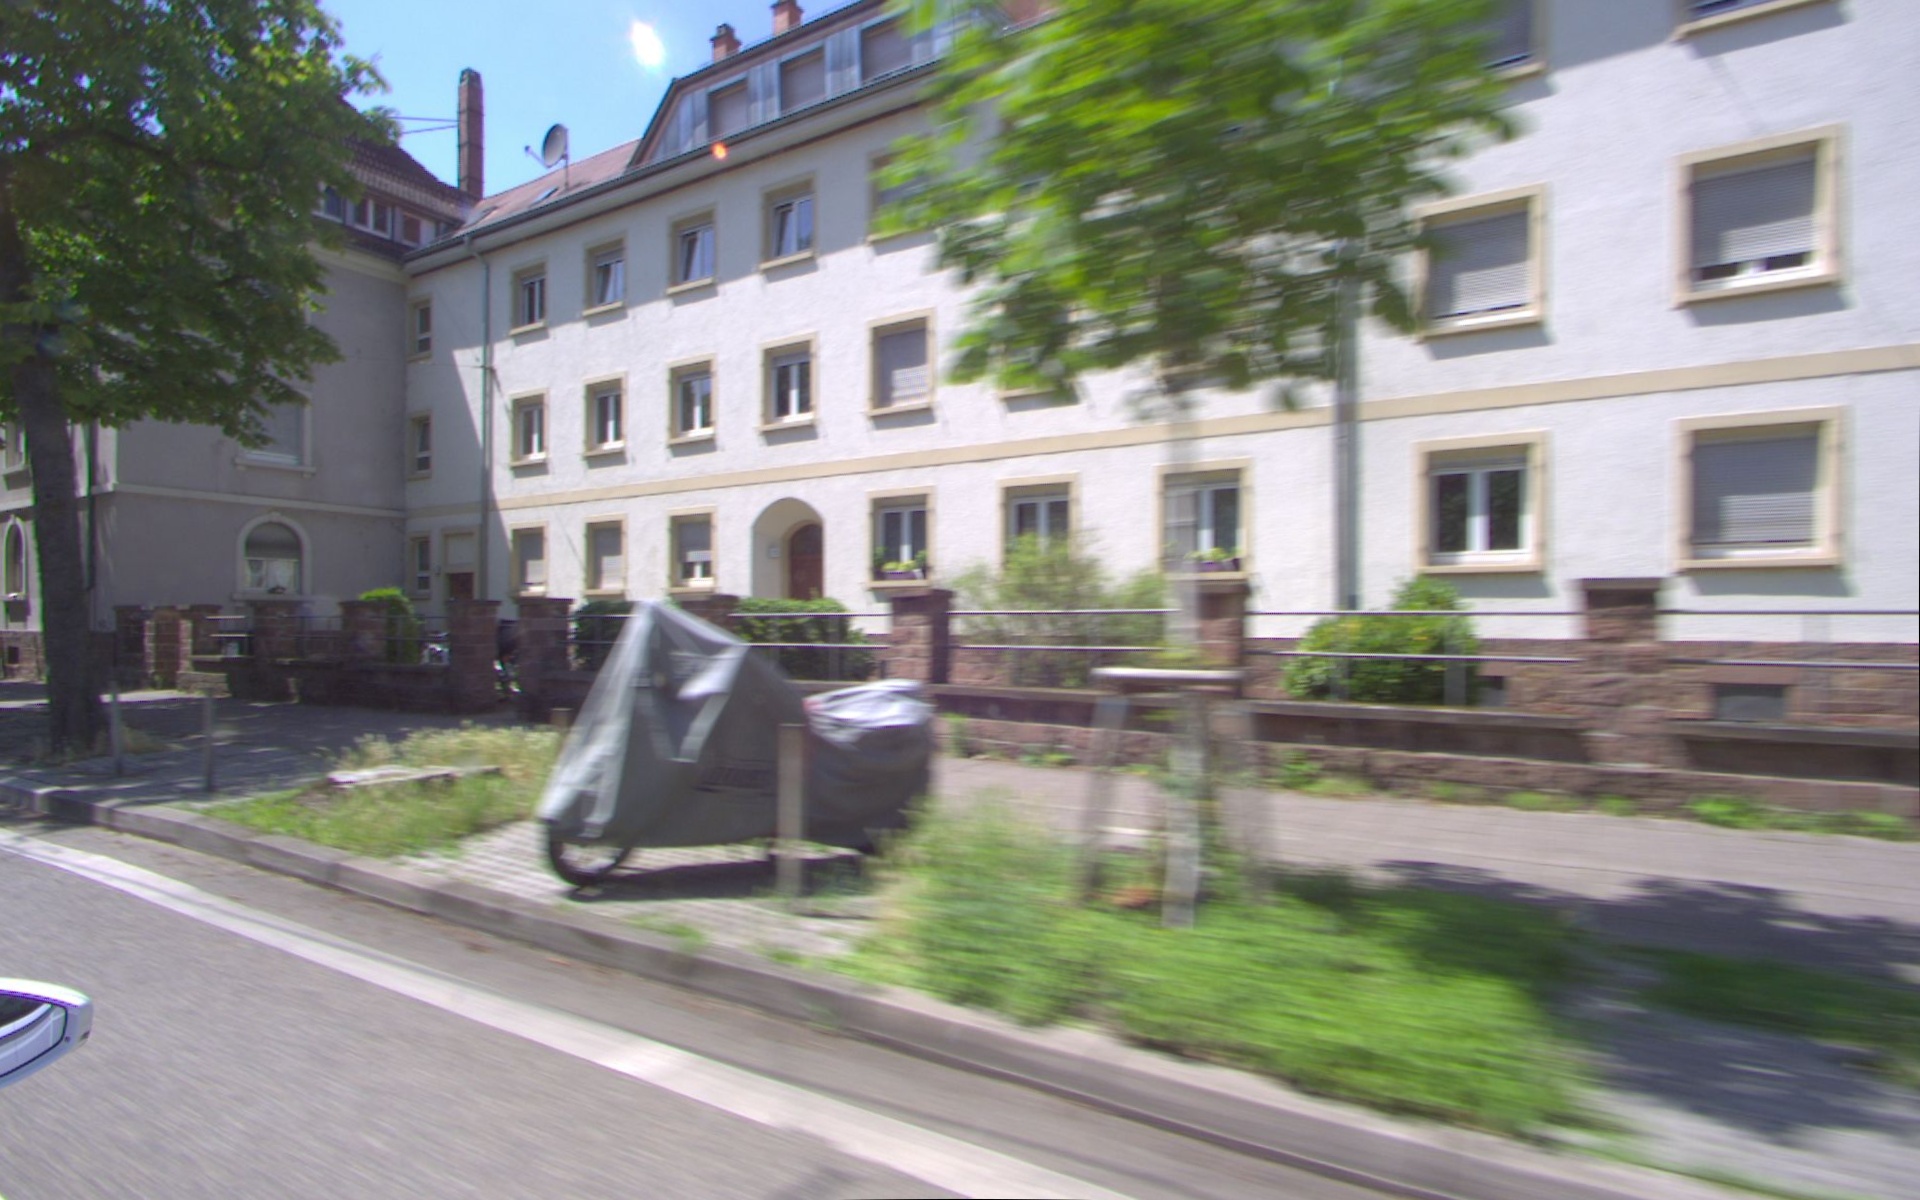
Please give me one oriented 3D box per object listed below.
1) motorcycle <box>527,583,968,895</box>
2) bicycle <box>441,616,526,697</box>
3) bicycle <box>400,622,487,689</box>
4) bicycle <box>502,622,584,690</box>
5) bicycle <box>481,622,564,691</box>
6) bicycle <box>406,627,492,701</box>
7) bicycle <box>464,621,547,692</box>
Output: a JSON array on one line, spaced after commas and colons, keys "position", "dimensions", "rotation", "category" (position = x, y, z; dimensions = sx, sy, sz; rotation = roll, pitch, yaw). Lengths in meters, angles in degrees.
[{"position": [-1.170, 0.709, 5.716], "dimensions": [2.279, 1.561, 0.868], "rotation": [0, 0, -15], "category": "motorcycle"}, {"position": [-7.511, 0.863, 15.781], "dimensions": [1.542, 1.207, 0.458], "rotation": [0, 1, 33], "category": "bicycle"}, {"position": [-8.704, 0.909, 16.857], "dimensions": [1.539, 1.070, 0.459], "rotation": [0, 1, 26], "category": "bicycle"}, {"position": [-6.980, 0.919, 16.736], "dimensions": [1.542, 1.070, 0.458], "rotation": [0, 1, 33], "category": "bicycle"}, {"position": [-7.173, 0.903, 16.405], "dimensions": [1.542, 1.070, 0.458], "rotation": [0, 1, 33], "category": "bicycle"}, {"position": [-7.866, 0.960, 15.387], "dimensions": [1.542, 1.070, 0.458], "rotation": [0, 1, 33], "category": "bicycle"}, {"position": [-7.316, 0.889, 16.103], "dimensions": [1.542, 1.070, 0.458], "rotation": [0, 1, 33], "category": "bicycle"}]
